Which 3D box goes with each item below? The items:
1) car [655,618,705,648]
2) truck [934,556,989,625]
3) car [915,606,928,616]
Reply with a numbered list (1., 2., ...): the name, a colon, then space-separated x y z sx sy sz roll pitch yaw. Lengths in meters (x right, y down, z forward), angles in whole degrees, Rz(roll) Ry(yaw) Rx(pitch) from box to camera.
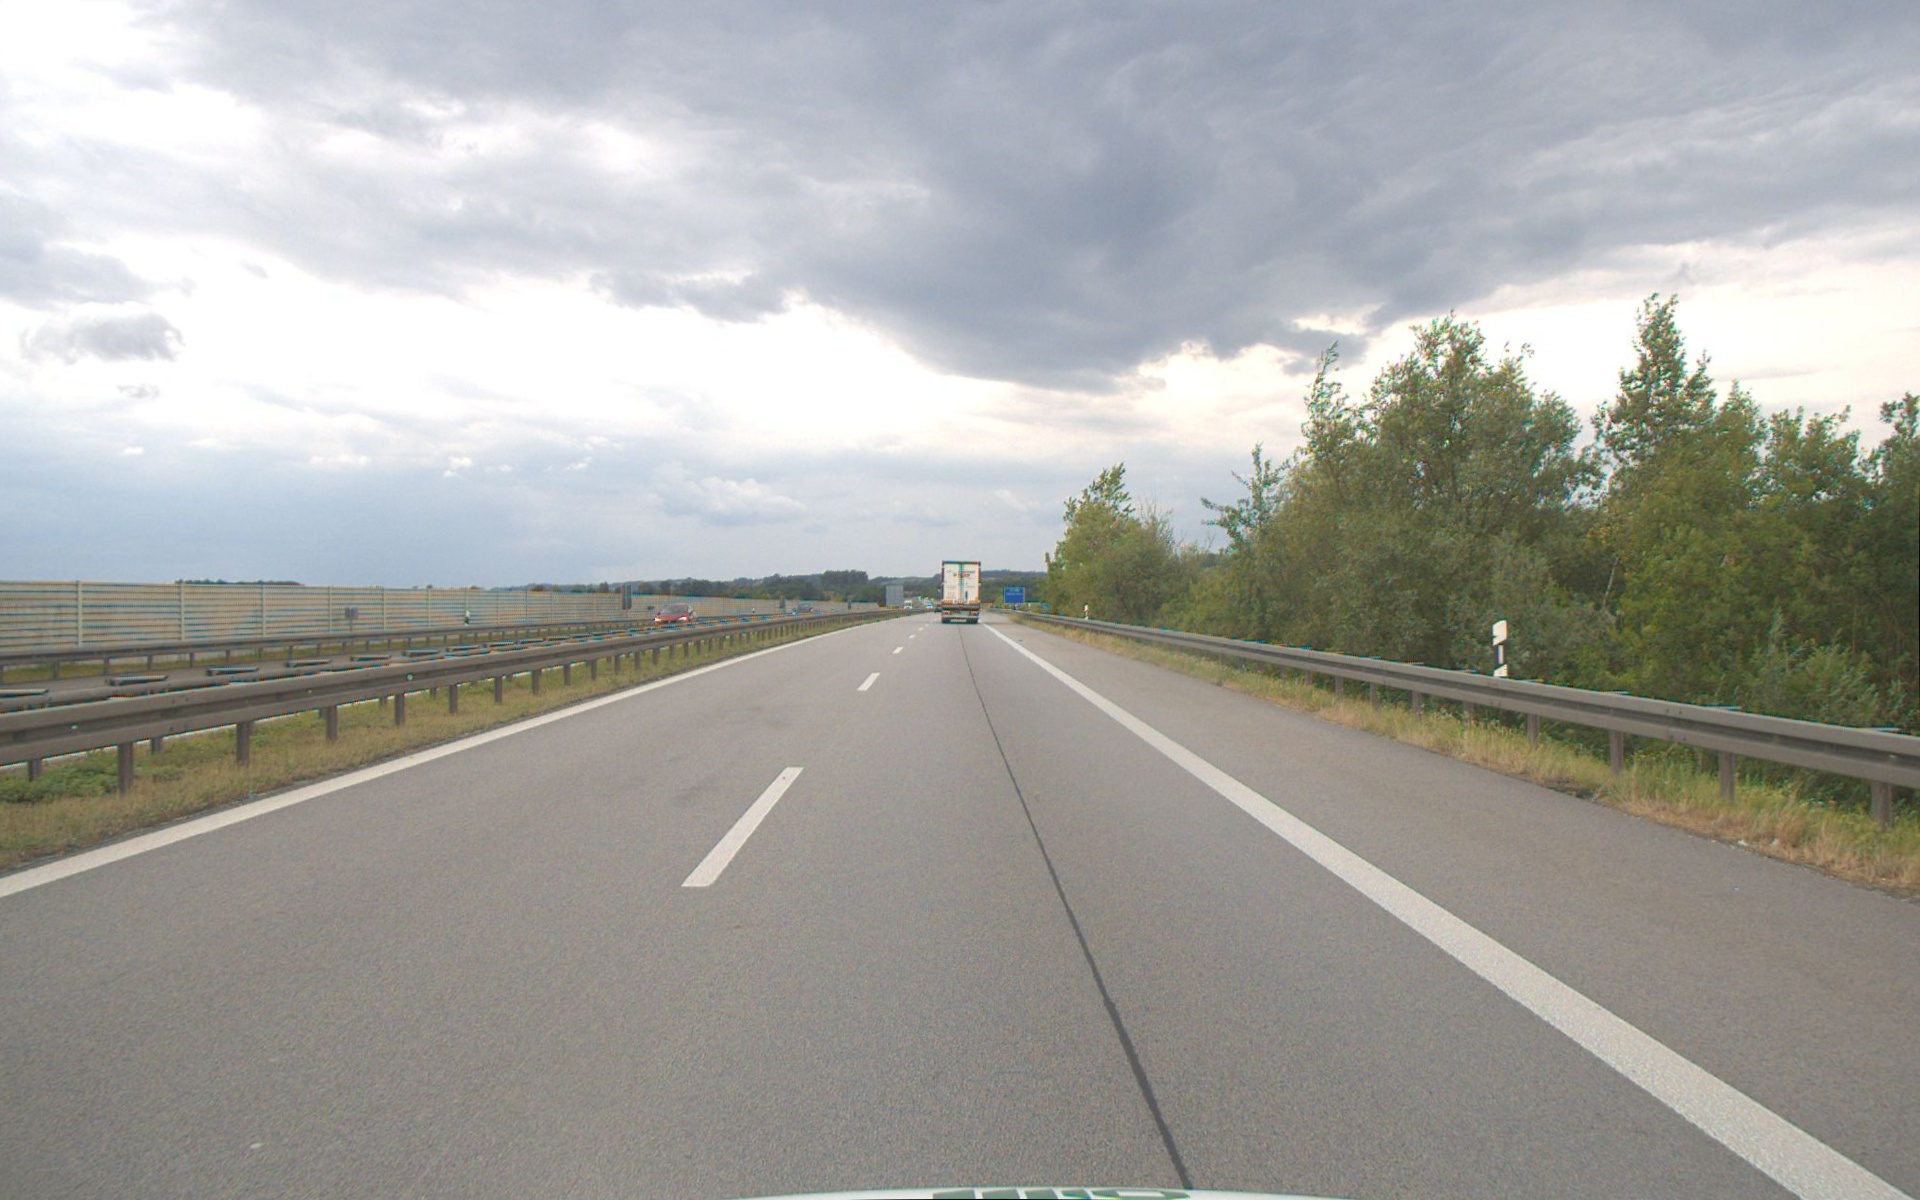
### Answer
1. car: -14.507 1.671 85.841 1.781 1.428 4.876 -1 0 0
2. truck: 0.001 -0.565 115.717 3.598 4.489 16.337 0 0 -1
3. car: -6.129 1.801 261.522 1.954 1.445 3.997 1 1 -4
